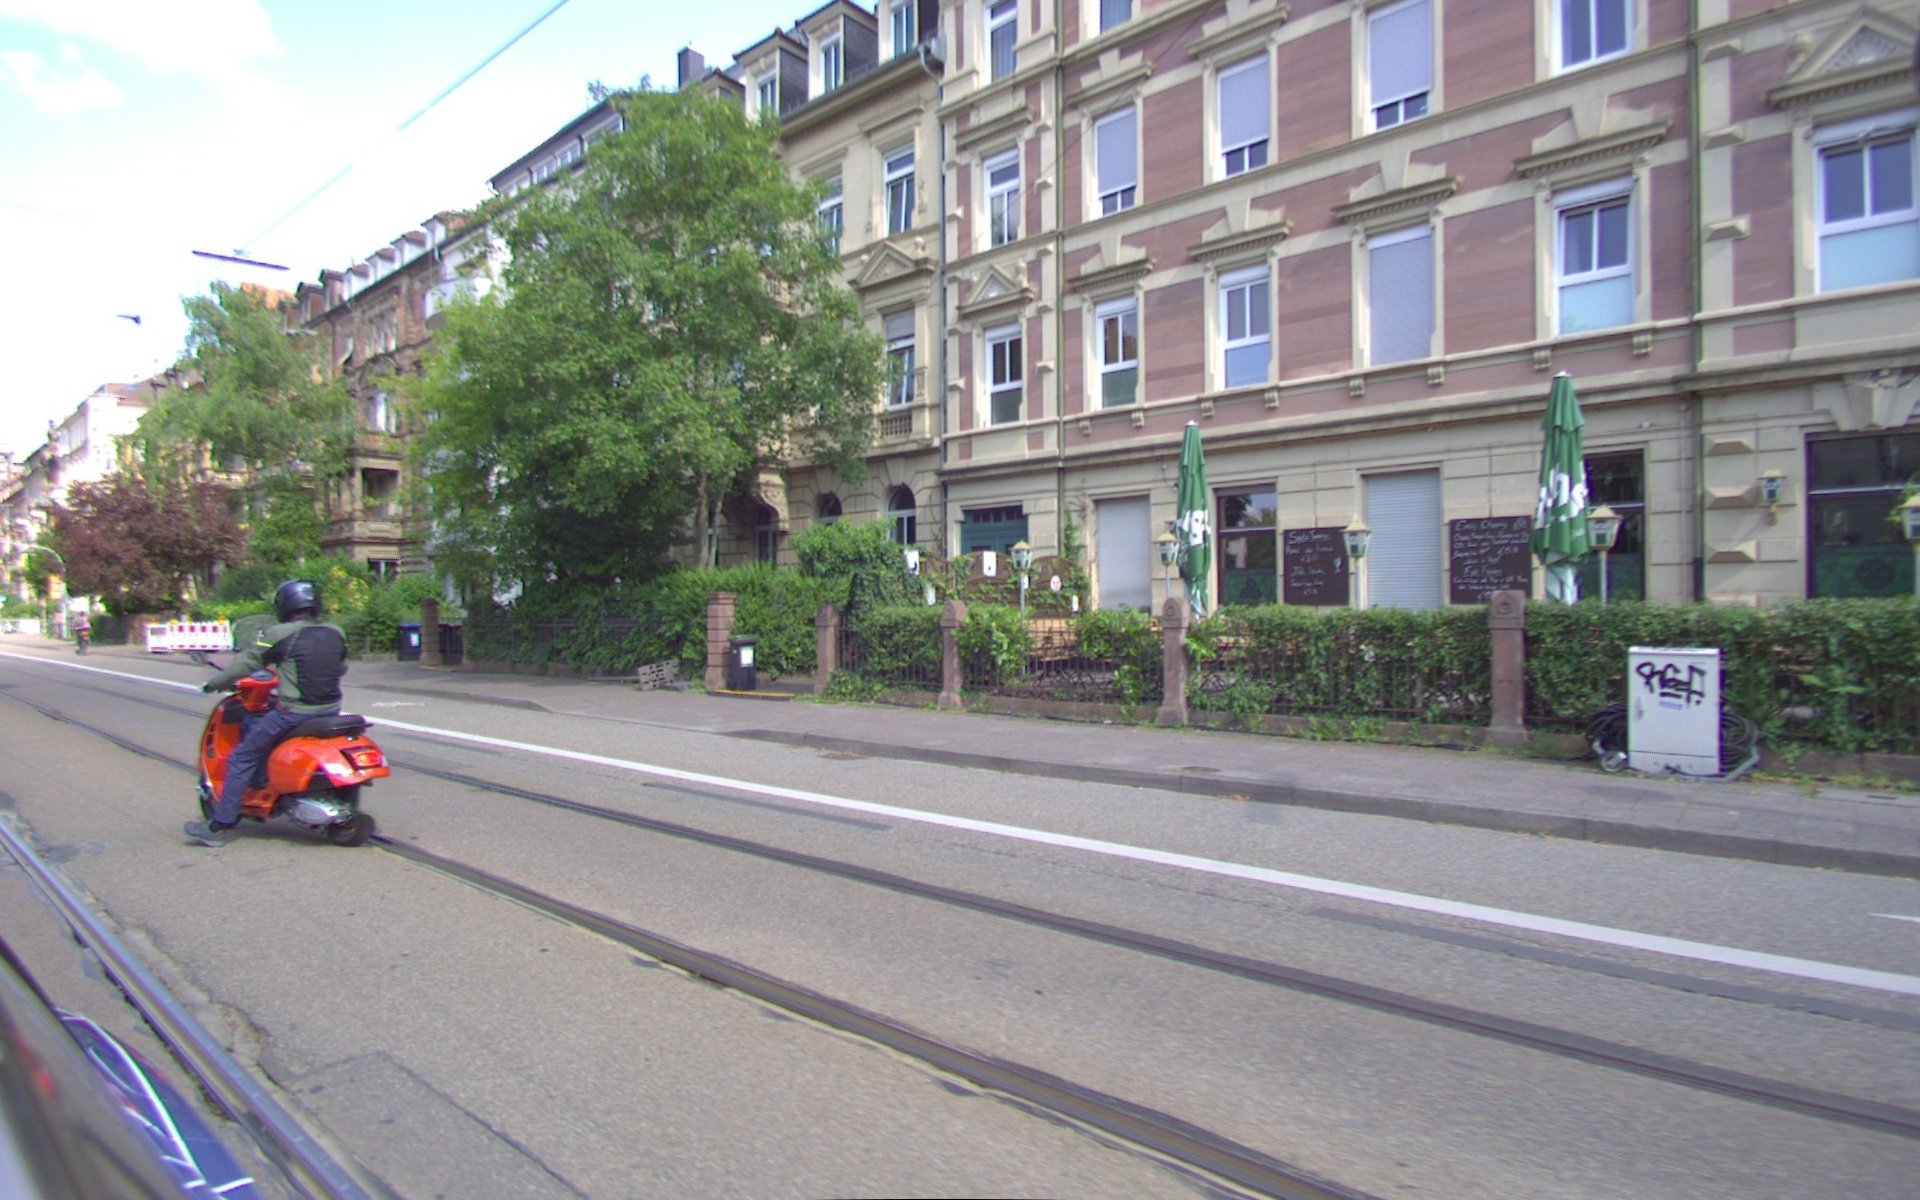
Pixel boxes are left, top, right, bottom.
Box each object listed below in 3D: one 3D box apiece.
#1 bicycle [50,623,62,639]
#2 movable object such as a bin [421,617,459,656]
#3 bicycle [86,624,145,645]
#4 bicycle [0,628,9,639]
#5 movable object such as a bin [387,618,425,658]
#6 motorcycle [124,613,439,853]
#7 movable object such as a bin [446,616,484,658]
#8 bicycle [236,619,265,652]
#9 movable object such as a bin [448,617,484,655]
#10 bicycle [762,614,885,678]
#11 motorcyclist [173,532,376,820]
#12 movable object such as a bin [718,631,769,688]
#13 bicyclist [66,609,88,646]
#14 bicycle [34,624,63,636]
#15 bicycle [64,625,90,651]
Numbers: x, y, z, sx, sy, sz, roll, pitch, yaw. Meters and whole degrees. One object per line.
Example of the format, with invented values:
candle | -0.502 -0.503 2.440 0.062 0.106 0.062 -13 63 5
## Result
bicycle | -55.641 1.924 62.309 1.472 0.948 0.395 -5 -5 43
movable object such as a bin | -15.497 1.082 30.157 0.733 1.116 0.765 -1 -1 40
bicycle | -40.252 1.633 48.262 0.586 0.944 2.106 -1 -1 40
bicycle | -80.266 2.796 84.088 1.724 0.948 0.485 2 -2 -25
movable object such as a bin | -16.114 1.091 29.437 0.733 1.116 0.765 -1 -1 40
motorcycle | -4.441 0.784 6.595 2.076 1.370 0.735 -1 -1 25
movable object such as a bin | -13.327 0.987 27.251 0.732 1.116 0.661 -1 -1 37
bicycle | -24.786 1.232 35.349 1.818 1.146 0.408 -1 -1 41
movable object such as a bin | -15.001 1.080 30.748 0.733 1.116 0.765 -1 -1 40
bicycle | -2.508 0.834 19.025 0.481 1.001 2.589 -1 2 41
motorcyclist | -4.462 0.463 6.607 0.916 1.727 0.735 -1 -1 25
movable object such as a bin | -3.685 0.995 17.204 0.640 0.932 0.572 -1 -1 41
bicyclist | -34.743 1.090 39.804 0.942 1.436 0.558 -1 -1 43
bicycle | -78.370 2.572 87.019 0.483 0.948 1.731 -1 -2 39
bicycle | -34.713 1.478 39.780 1.918 0.997 0.563 -1 -1 43
